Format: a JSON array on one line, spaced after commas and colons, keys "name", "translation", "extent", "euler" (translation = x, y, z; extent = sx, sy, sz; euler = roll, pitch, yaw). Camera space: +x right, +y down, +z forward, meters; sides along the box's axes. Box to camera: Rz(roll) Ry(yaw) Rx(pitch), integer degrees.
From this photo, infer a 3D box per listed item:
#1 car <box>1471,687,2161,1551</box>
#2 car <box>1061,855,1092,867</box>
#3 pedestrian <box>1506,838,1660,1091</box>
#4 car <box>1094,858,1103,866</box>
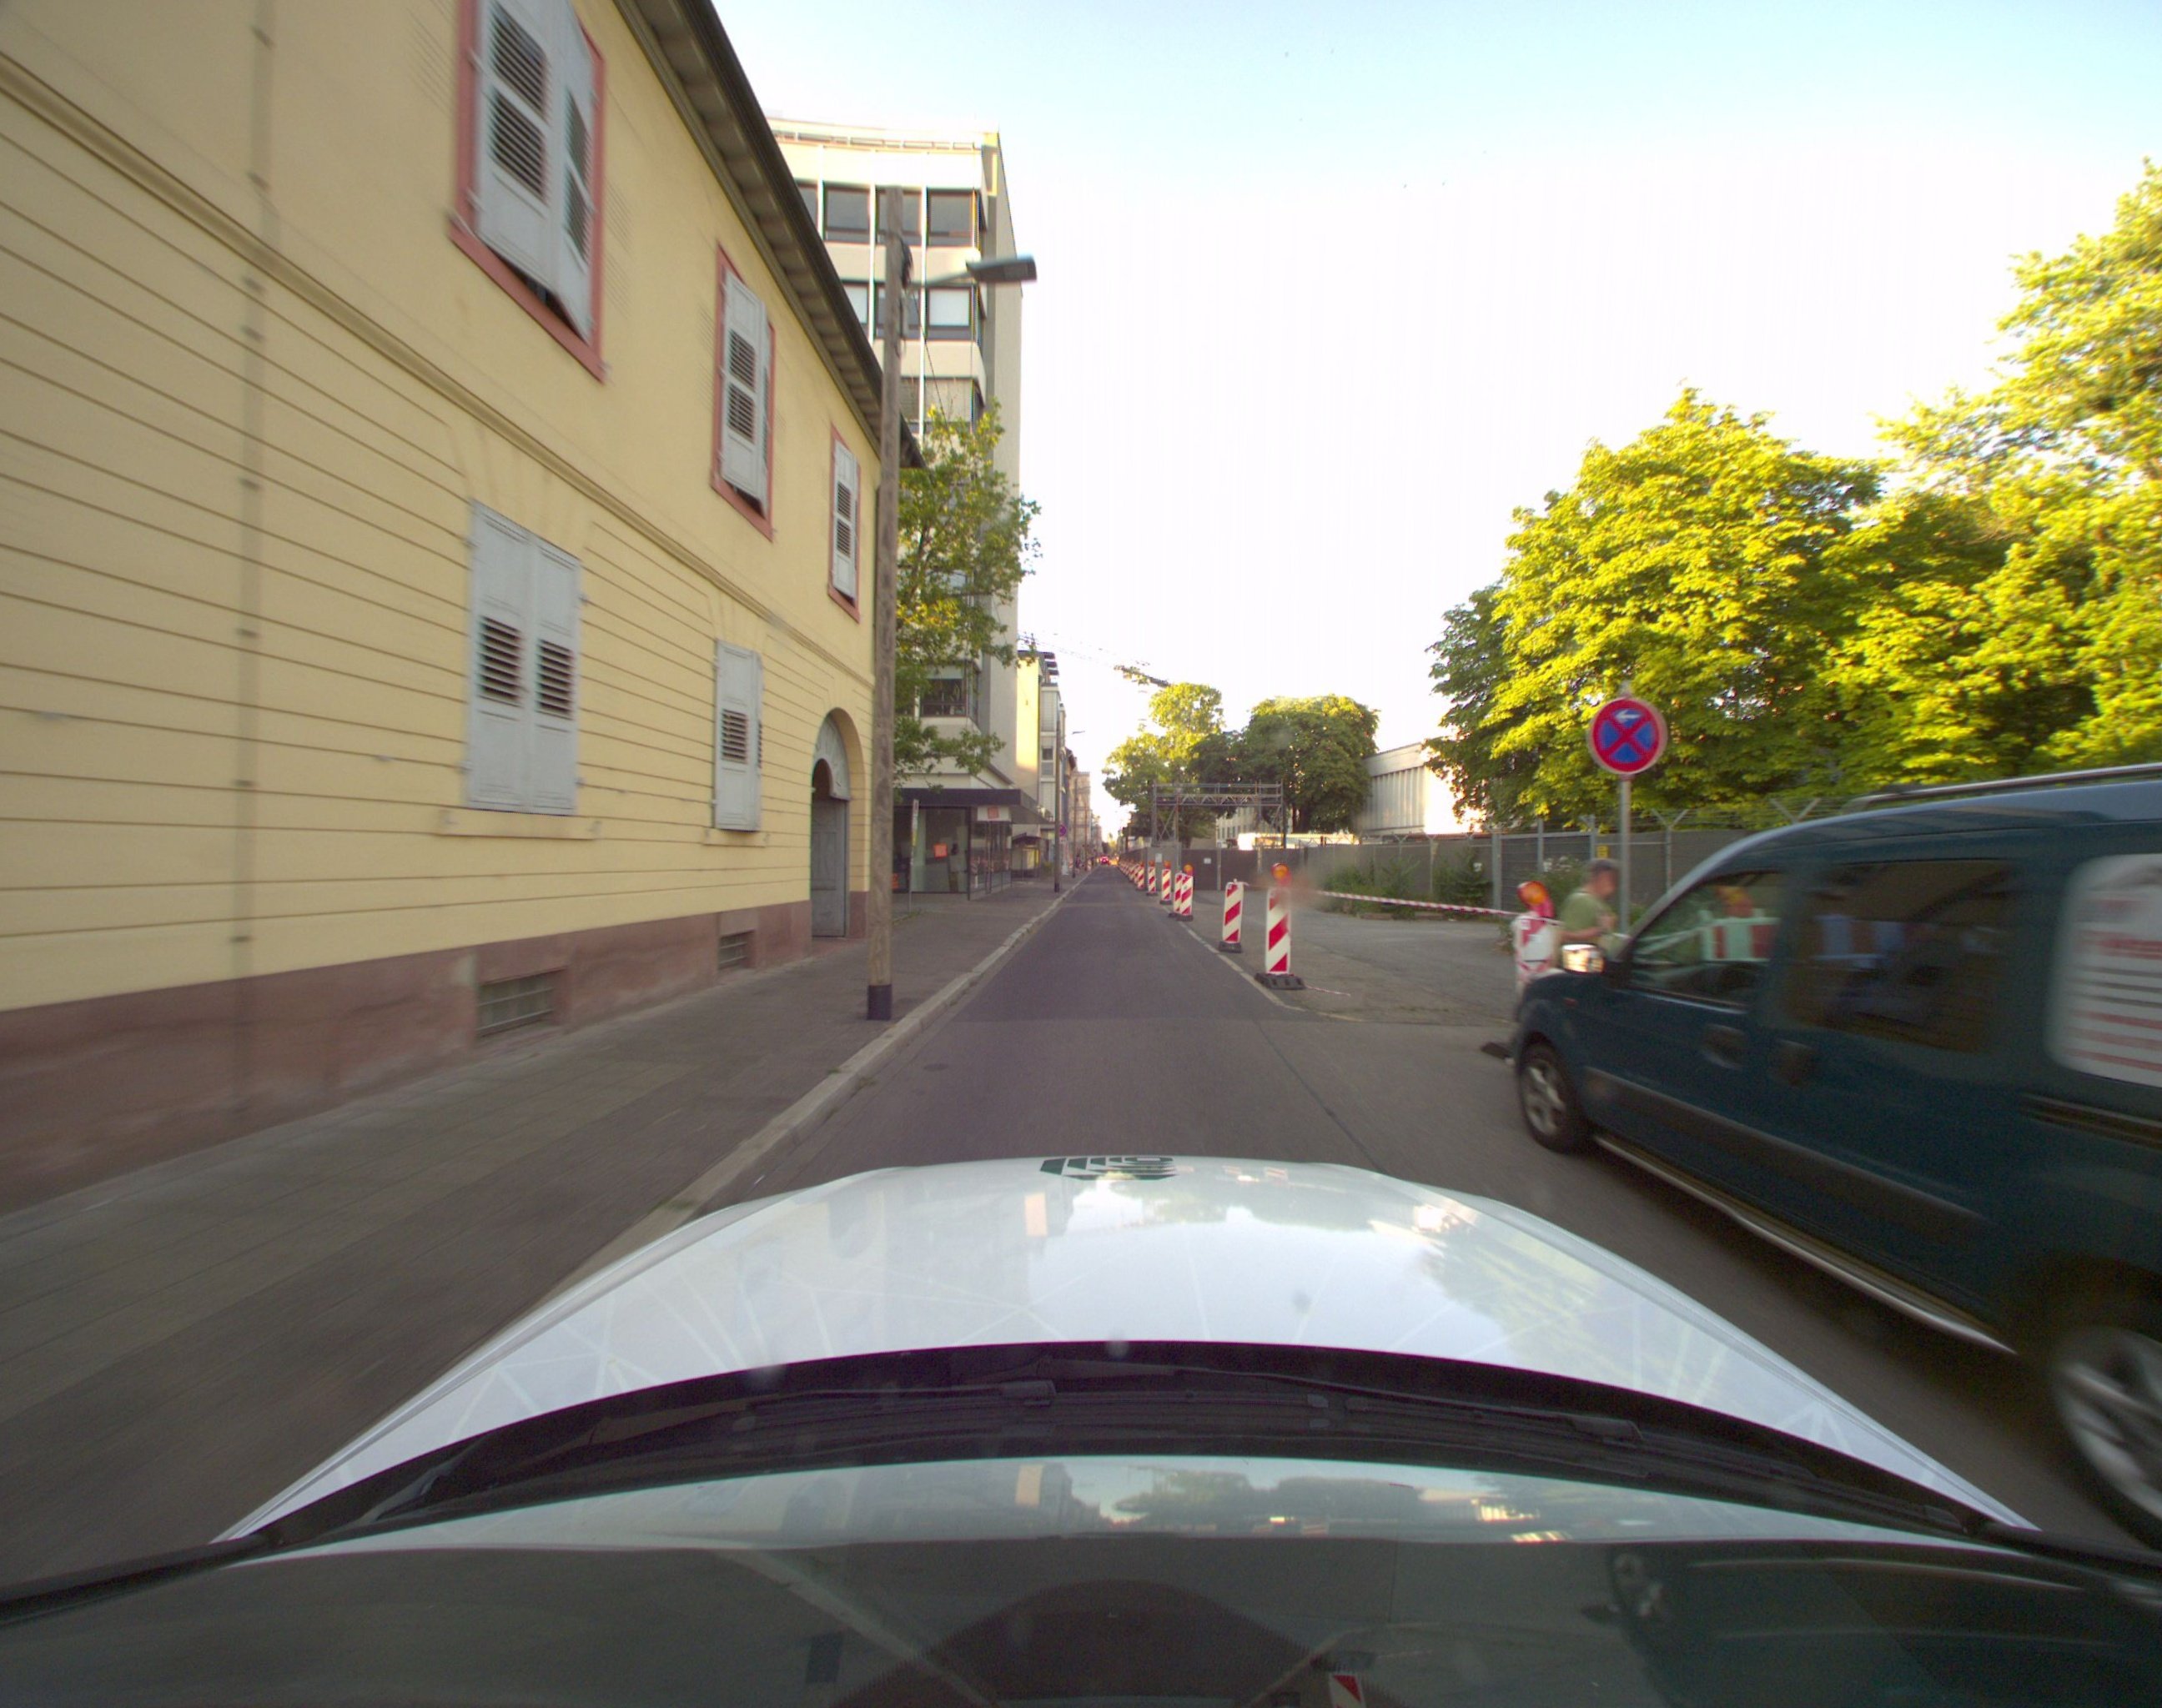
[{"name": "car", "translation": [3.240, 0.583, 3.152], "extent": [1.706, 1.849, 4.025], "euler": [1, 0, 3]}, {"name": "car", "translation": [-0.530, 0.857, 96.717], "extent": [3.733, 1.459, 1.696], "euler": [0, -1, -2]}, {"name": "pedestrian", "translation": [3.485, 0.720, 5.717], "extent": [0.610, 1.629, 0.819], "euler": [1, -1, 4]}, {"name": "car", "translation": [3.649, 1.659, 169.702], "extent": [1.851, 1.662, 4.001], "euler": [1, 0, 2]}]
